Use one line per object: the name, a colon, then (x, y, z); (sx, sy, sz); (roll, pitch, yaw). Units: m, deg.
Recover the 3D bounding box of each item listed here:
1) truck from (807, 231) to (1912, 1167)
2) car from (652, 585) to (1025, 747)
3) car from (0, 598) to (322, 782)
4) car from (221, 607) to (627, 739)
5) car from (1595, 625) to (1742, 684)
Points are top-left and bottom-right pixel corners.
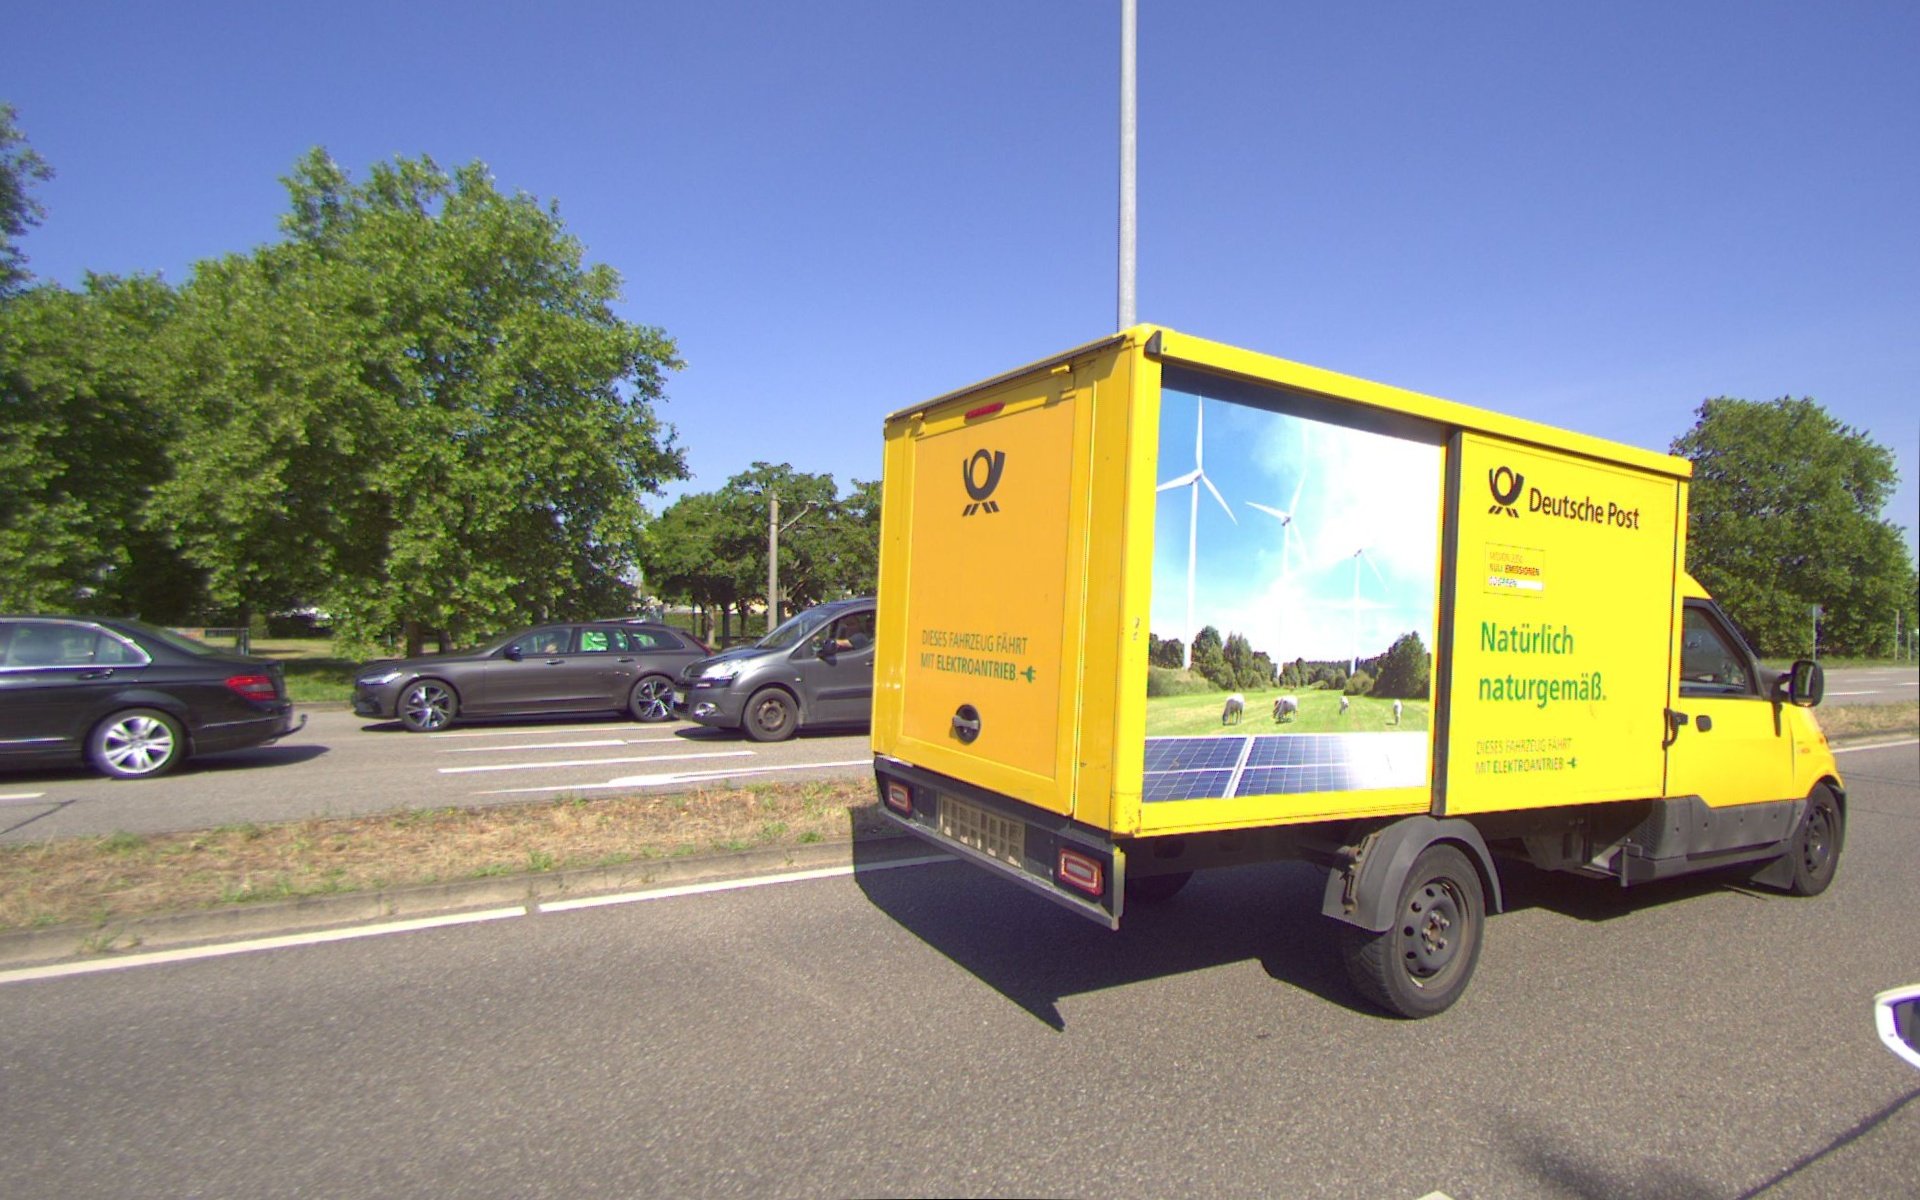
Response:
truck: (2.369, 0.325, 5.103); (5.849, 2.490, 2.101); (2, 0, -31)
car: (-1.543, 0.802, 13.134); (4.435, 1.803, 1.972); (1, -1, -29)
car: (-8.262, 0.771, 8.862); (4.401, 1.476, 1.971); (2, -4, -33)
car: (-7.231, 0.958, 13.921); (4.632, 1.548, 2.061); (2, -3, -32)
car: (21.592, 1.640, 30.576); (4.501, 1.682, 1.973); (2, -2, -30)
